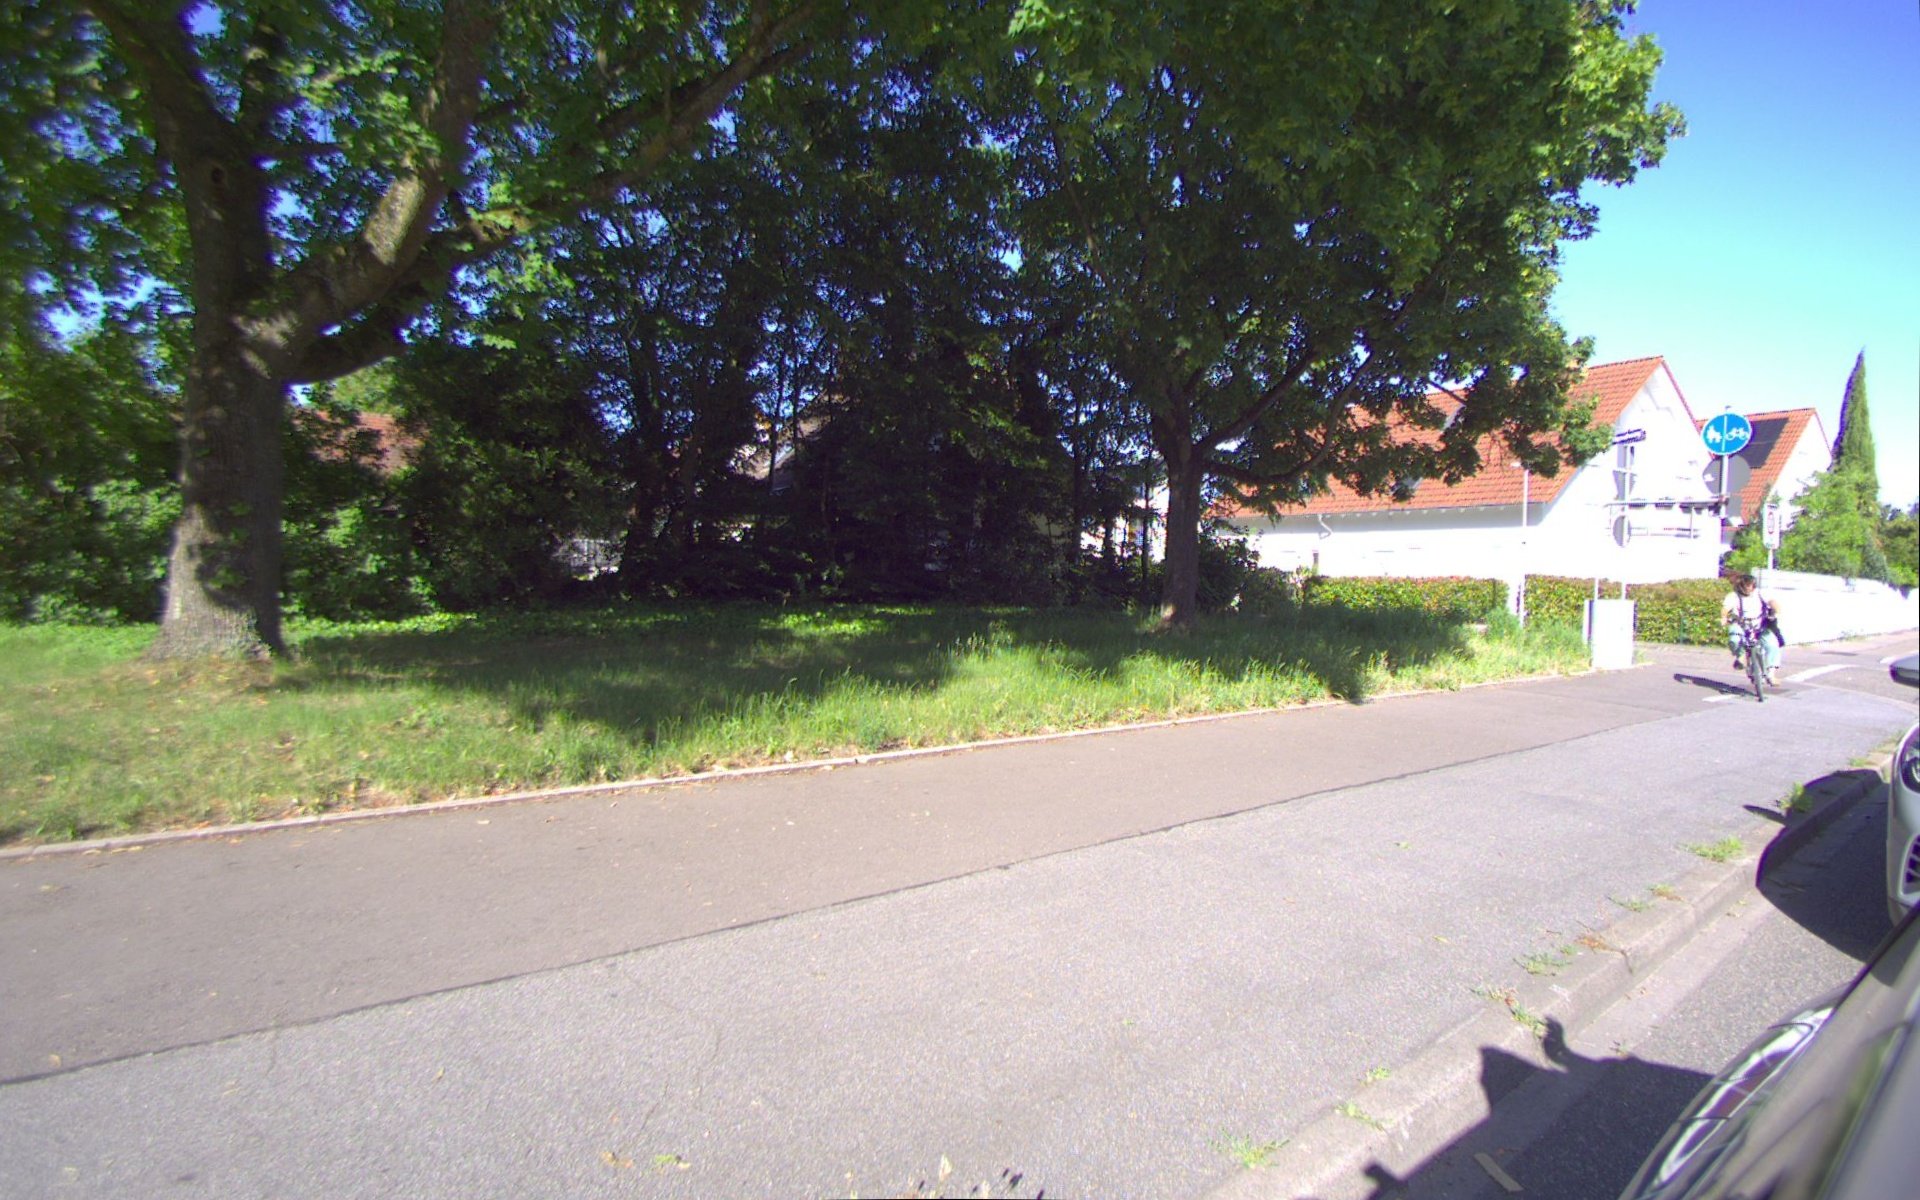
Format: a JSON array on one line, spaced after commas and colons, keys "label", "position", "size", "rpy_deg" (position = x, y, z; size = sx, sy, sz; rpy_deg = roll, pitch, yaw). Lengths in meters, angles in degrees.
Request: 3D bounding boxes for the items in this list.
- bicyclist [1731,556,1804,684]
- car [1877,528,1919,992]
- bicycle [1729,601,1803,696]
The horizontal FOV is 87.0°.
[{"label": "bicyclist", "position": [10.792, 0.248, 13.553], "size": [0.577, 1.600, 0.985], "rpy_deg": [6, 4, 35]}, {"label": "car", "position": [5.633, 0.611, 4.440], "size": [4.133, 1.710, 1.857], "rpy_deg": [0, 3, -41]}, {"label": "bicycle", "position": [10.767, 0.608, 13.569], "size": [0.577, 1.110, 1.962], "rpy_deg": [6, 4, 35]}]
